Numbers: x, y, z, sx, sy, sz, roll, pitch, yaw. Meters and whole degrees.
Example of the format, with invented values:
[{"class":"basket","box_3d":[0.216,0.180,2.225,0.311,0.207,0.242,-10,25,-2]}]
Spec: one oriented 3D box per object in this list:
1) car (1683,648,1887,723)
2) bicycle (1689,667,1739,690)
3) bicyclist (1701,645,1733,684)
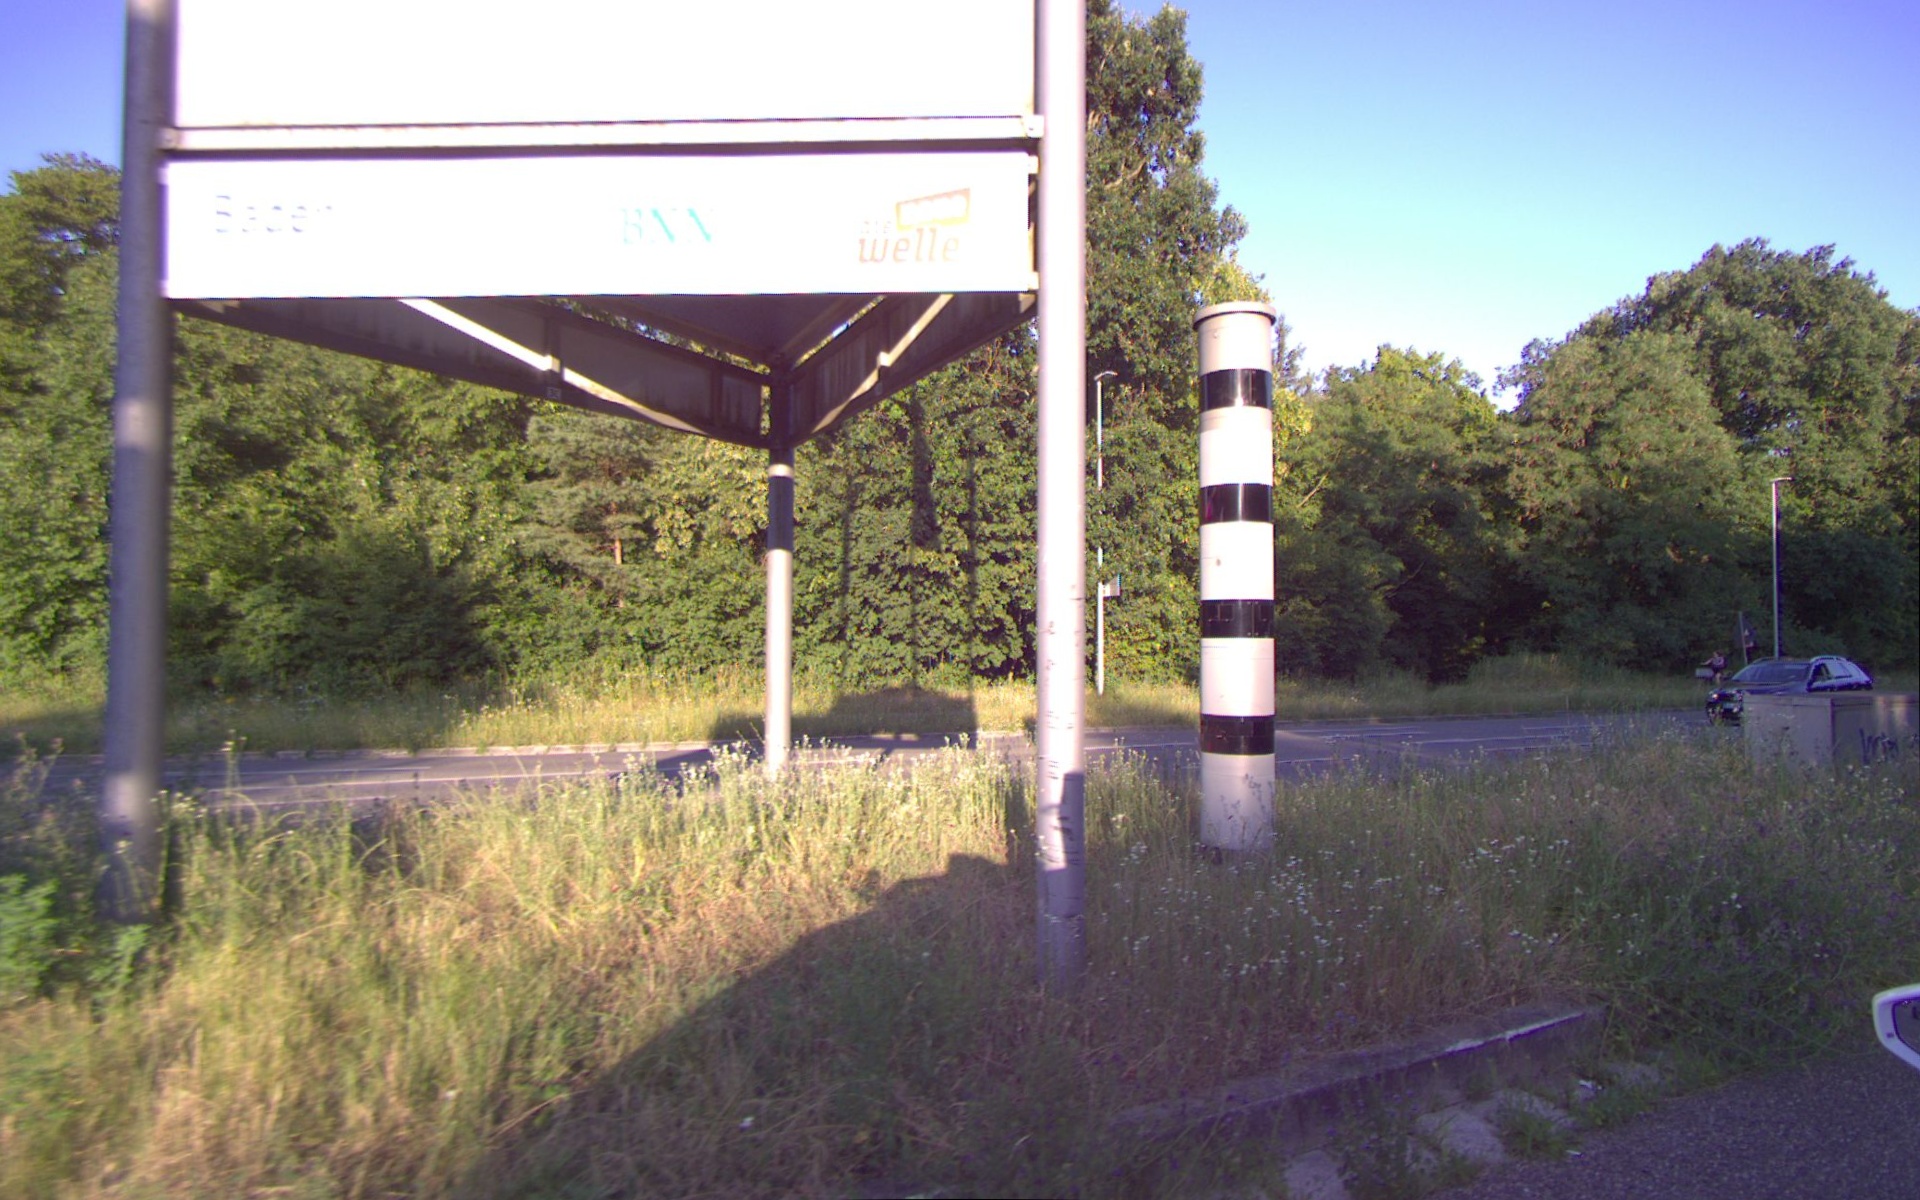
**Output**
[{"class":"car","box_3d":[18.531,1.887,22.548,4.395,1.553,1.815,2,-4,-25]},{"class":"bicycle","box_3d":[28.131,2.918,37.479,1.930,0.815,0.584,1,-3,-23]},{"class":"bicyclist","box_3d":[28.228,2.393,37.459,0.810,1.448,0.584,1,-2,-23]}]
